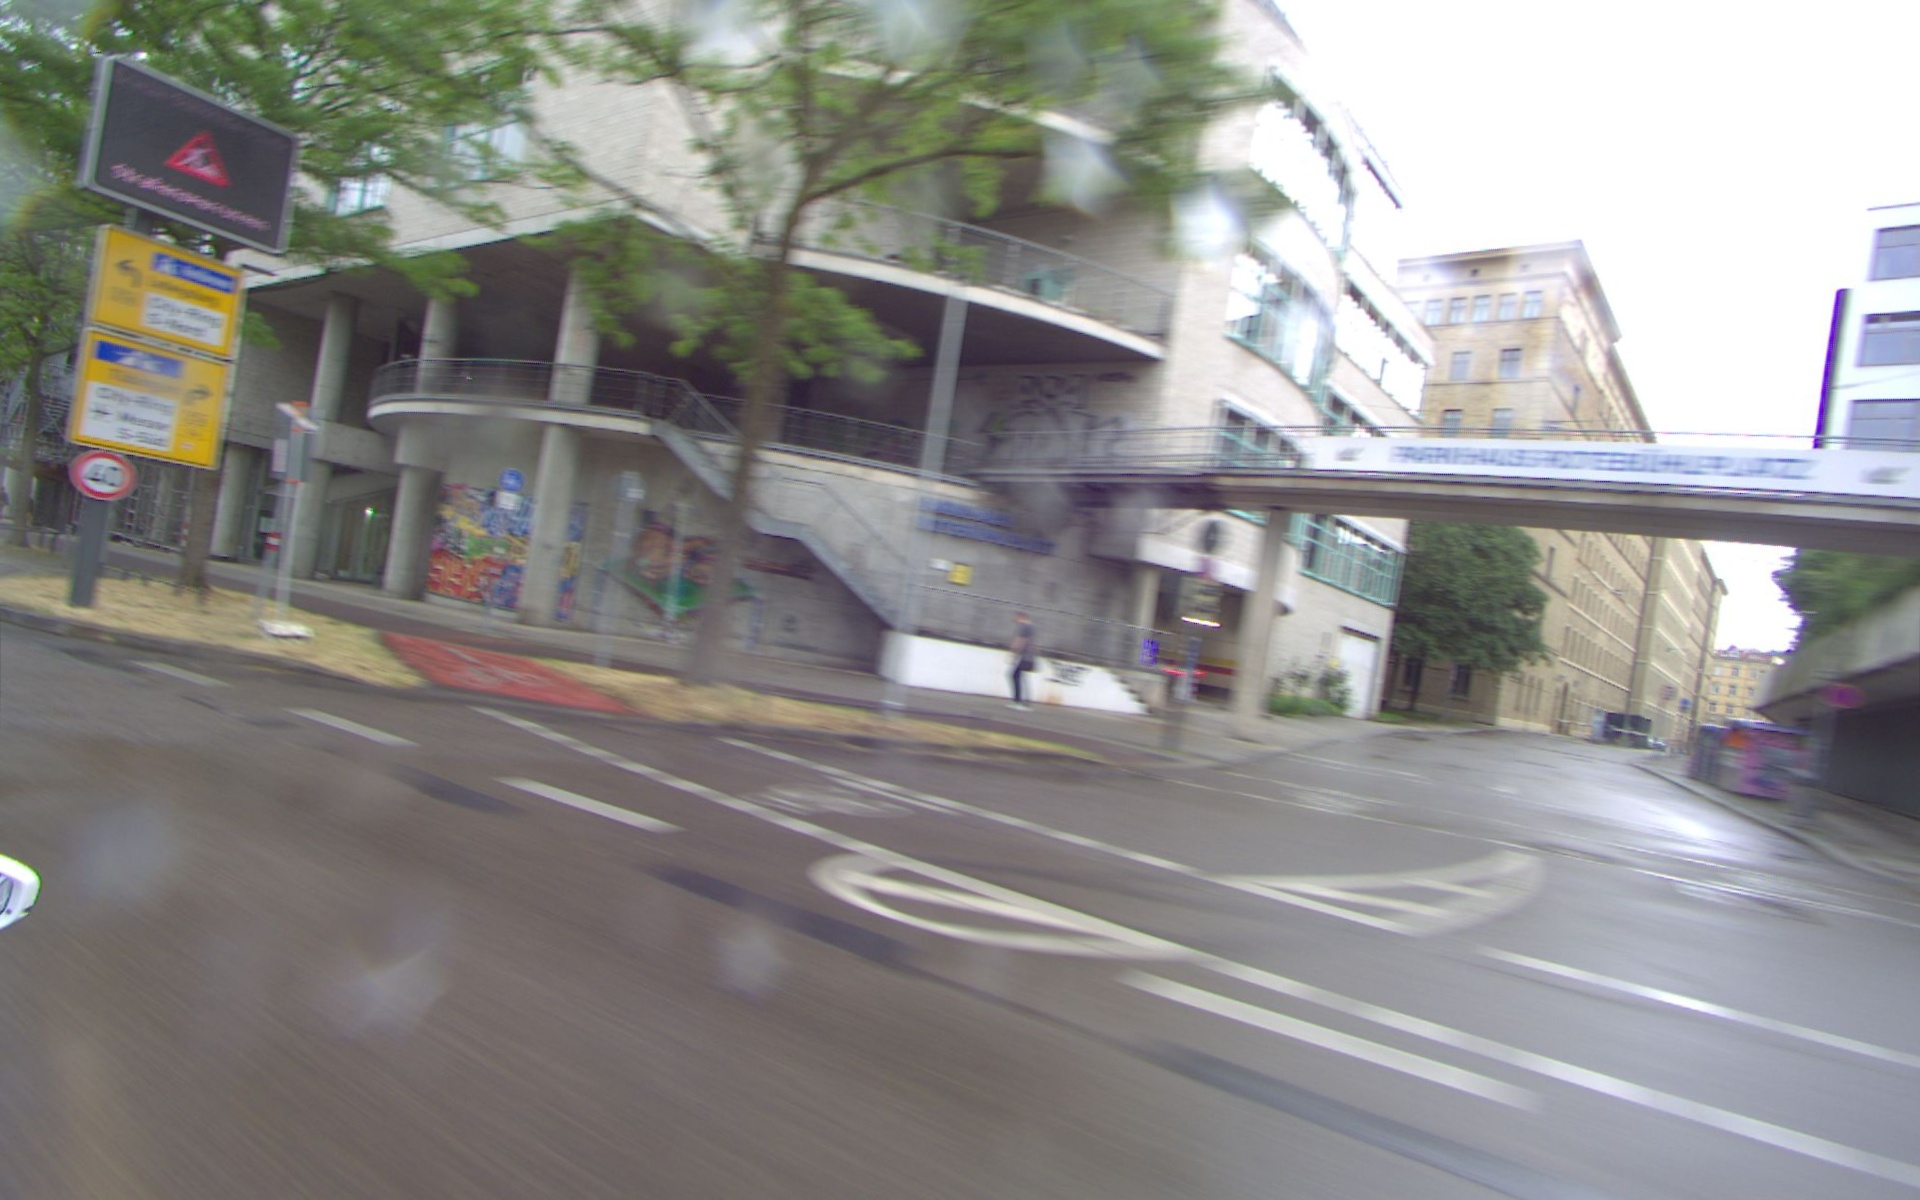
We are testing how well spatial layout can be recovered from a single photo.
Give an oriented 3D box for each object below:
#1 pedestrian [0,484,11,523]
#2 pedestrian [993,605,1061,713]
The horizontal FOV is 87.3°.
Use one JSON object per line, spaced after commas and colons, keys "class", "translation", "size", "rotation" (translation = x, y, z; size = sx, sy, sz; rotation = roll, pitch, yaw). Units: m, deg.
{"class": "pedestrian", "translation": [-49.646, -4.987, 51.919], "size": [0.693, 1.943, 0.774], "rotation": [5, -1, 42]}
{"class": "pedestrian", "translation": [1.280, 1.122, 19.113], "size": [0.745, 1.933, 0.847], "rotation": [7, -1, 31]}
